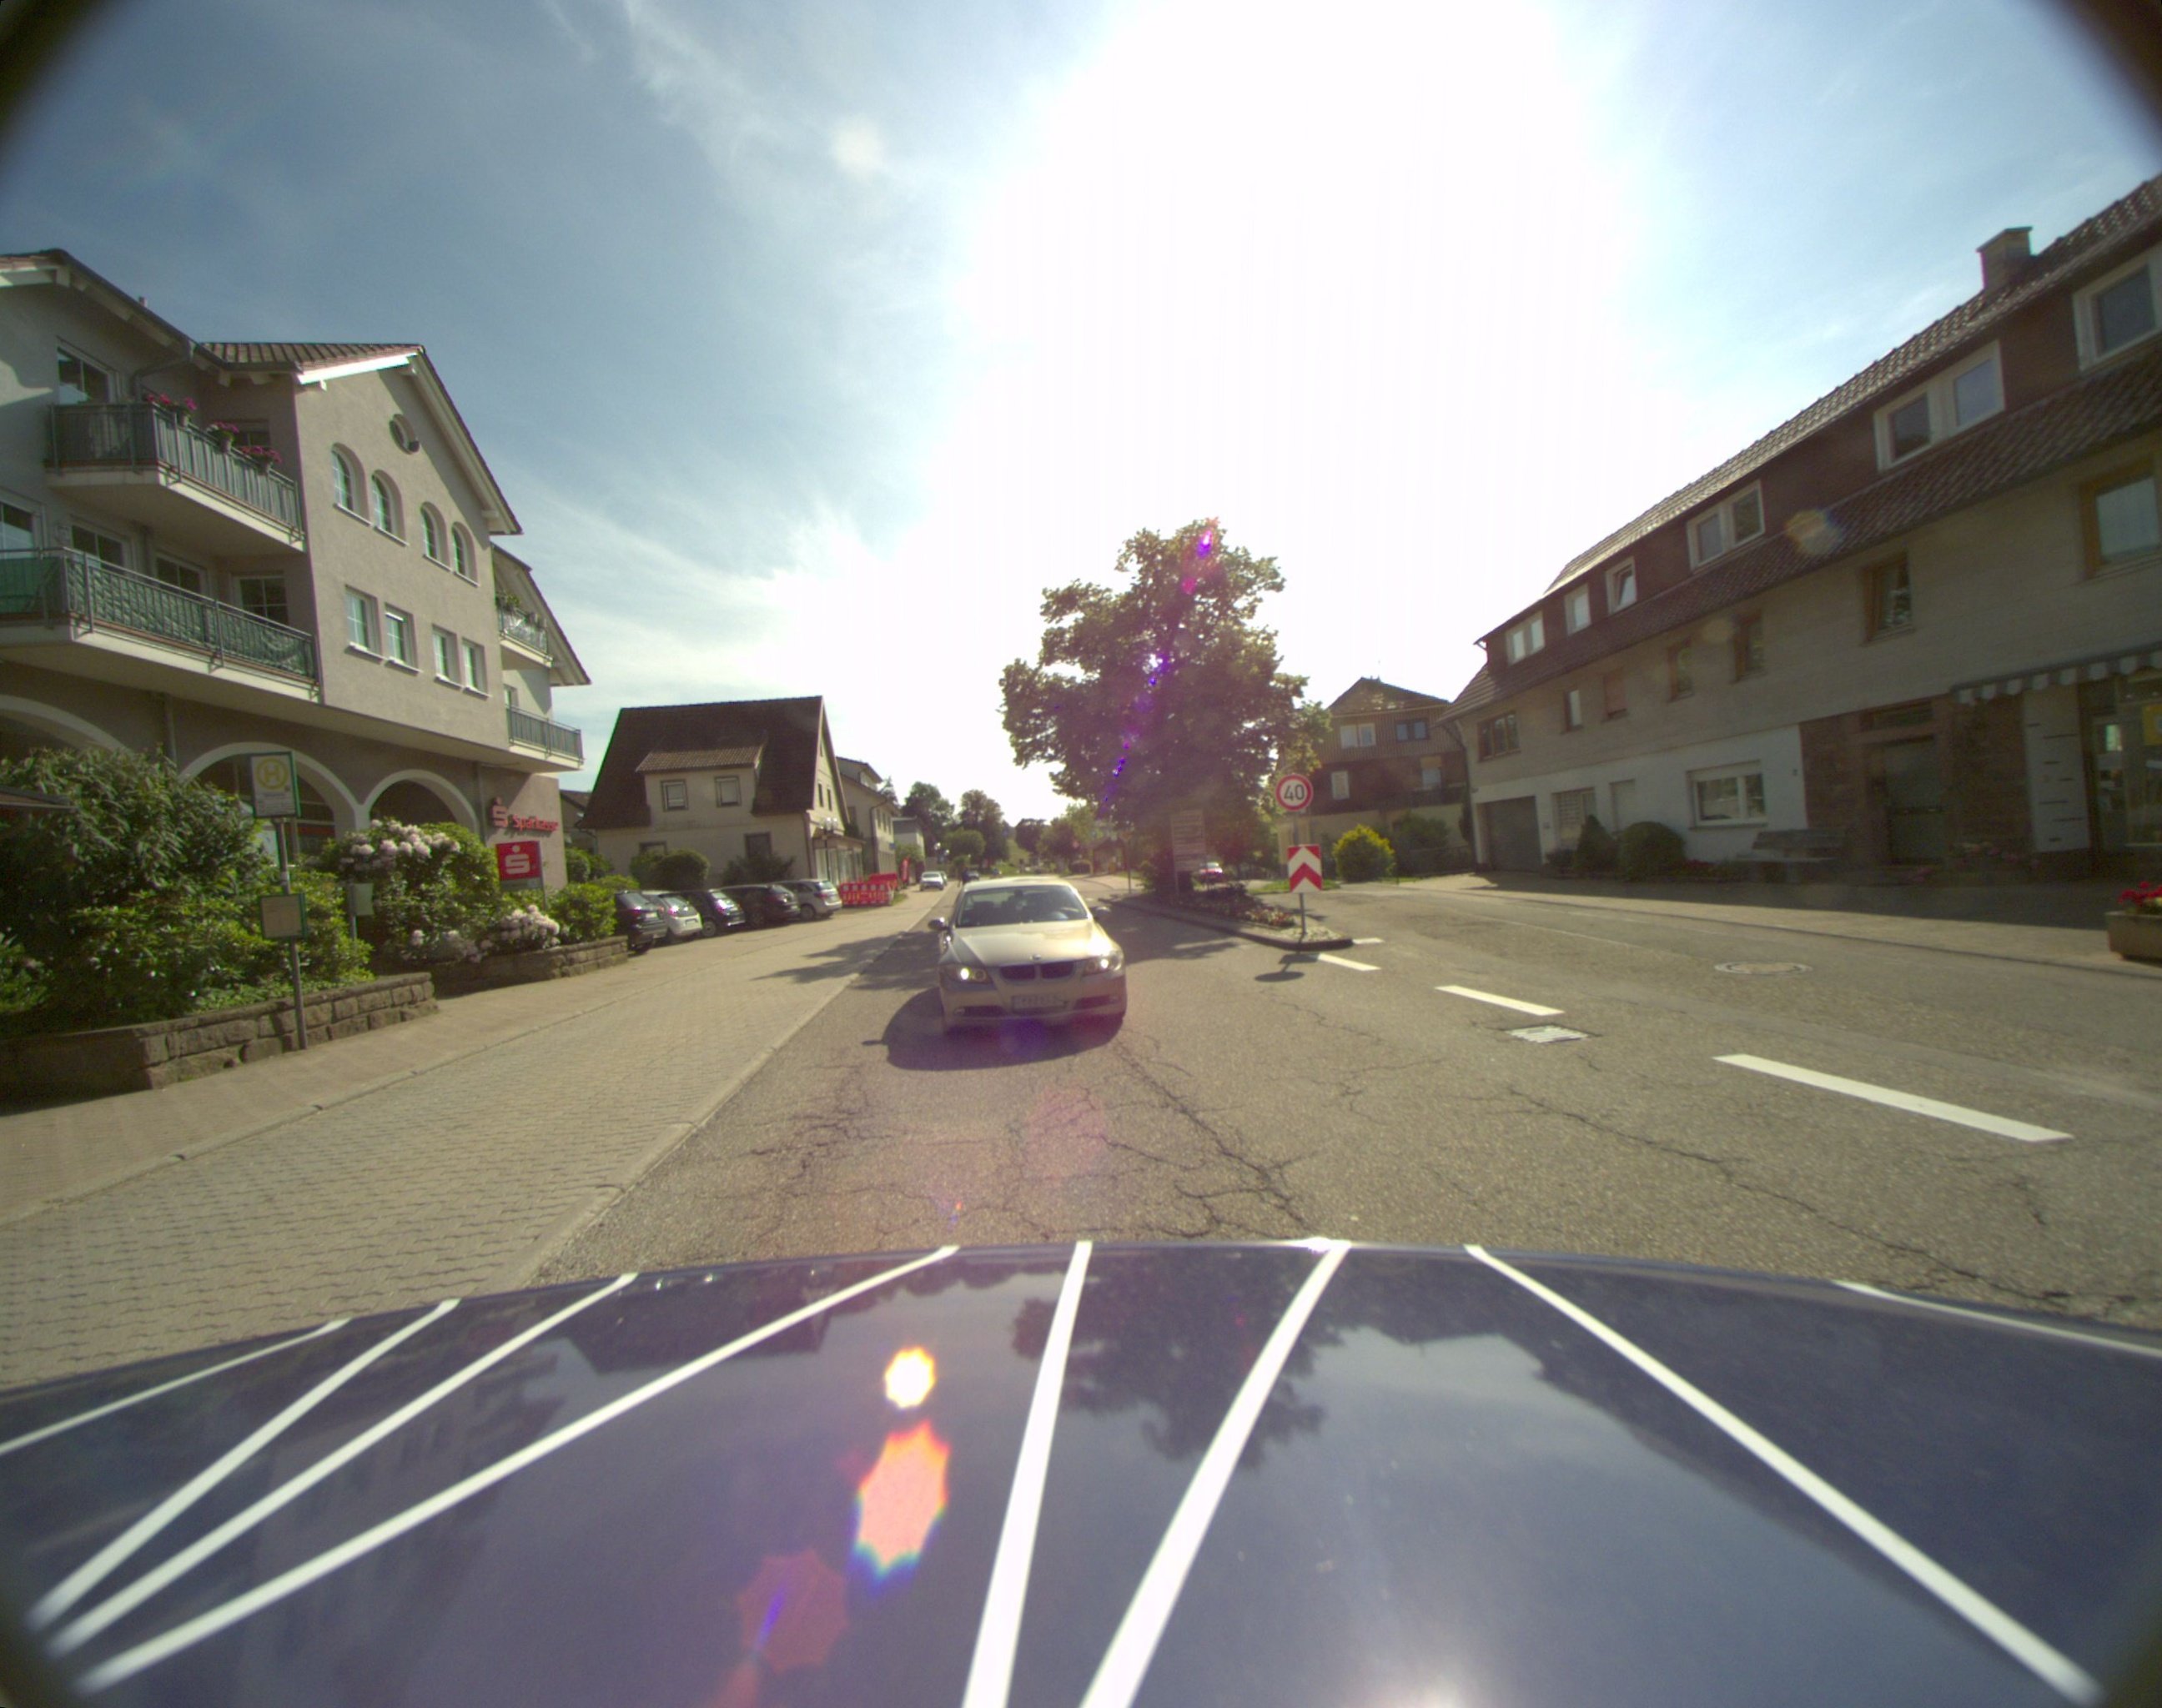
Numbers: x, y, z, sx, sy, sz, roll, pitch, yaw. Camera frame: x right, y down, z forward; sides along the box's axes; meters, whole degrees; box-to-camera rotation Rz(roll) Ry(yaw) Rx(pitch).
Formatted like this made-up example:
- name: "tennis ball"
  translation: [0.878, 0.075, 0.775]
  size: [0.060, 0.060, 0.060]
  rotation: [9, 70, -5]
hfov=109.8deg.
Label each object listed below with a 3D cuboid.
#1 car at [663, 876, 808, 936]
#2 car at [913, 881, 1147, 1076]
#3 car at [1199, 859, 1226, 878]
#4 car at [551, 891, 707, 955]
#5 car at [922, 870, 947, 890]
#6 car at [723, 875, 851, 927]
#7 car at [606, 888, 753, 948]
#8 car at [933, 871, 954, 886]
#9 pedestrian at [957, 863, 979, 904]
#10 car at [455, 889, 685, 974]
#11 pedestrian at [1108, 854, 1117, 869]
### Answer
- name: "car"
  translation: [-11.623, 1.737, 25.708]
  size: [3.996, 1.540, 1.738]
  rotation: [-6, 0, 2]
- name: "car"
  translation: [-0.690, 1.079, 8.430]
  size: [1.840, 1.360, 4.578]
  rotation: [-2, 0, -7]
- name: "car"
  translation: [9.661, 1.054, 56.068]
  size: [1.724, 1.289, 4.002]
  rotation: [-3, 0, 6]
- name: "car"
  translation: [-12.389, 1.872, 20.983]
  size: [3.242, 1.460, 1.628]
  rotation: [-3, 0, -1]
- name: "car"
  translation: [-11.345, 1.974, 58.741]
  size: [1.641, 1.411, 3.931]
  rotation: [-4, 0, -13]
- name: "car"
  translation: [-10.865, 1.719, 28.298]
  size: [3.870, 1.549, 1.964]
  rotation: [-4, 0, 5]
- name: "car"
  translation: [-12.262, 1.948, 23.376]
  size: [3.568, 1.410, 1.582]
  rotation: [-5, 0, -1]
- name: "car"
  translation: [-13.989, 2.512, 77.637]
  size: [1.765, 1.415, 3.632]
  rotation: [-3, 0, -6]
- name: "pedestrian"
  translation: [-5.093, 1.298, 34.256]
  size: [0.801, 1.774, 0.979]
  rotation: [-3, 0, -3]
- name: "car"
  translation: [-11.906, 1.775, 17.960]
  size: [3.999, 1.539, 1.880]
  rotation: [-4, 0, -6]
- name: "pedestrian"
  translation: [2.739, 0.660, 65.878]
  size: [0.631, 1.245, 0.423]
  rotation: [-2, 0, -11]
